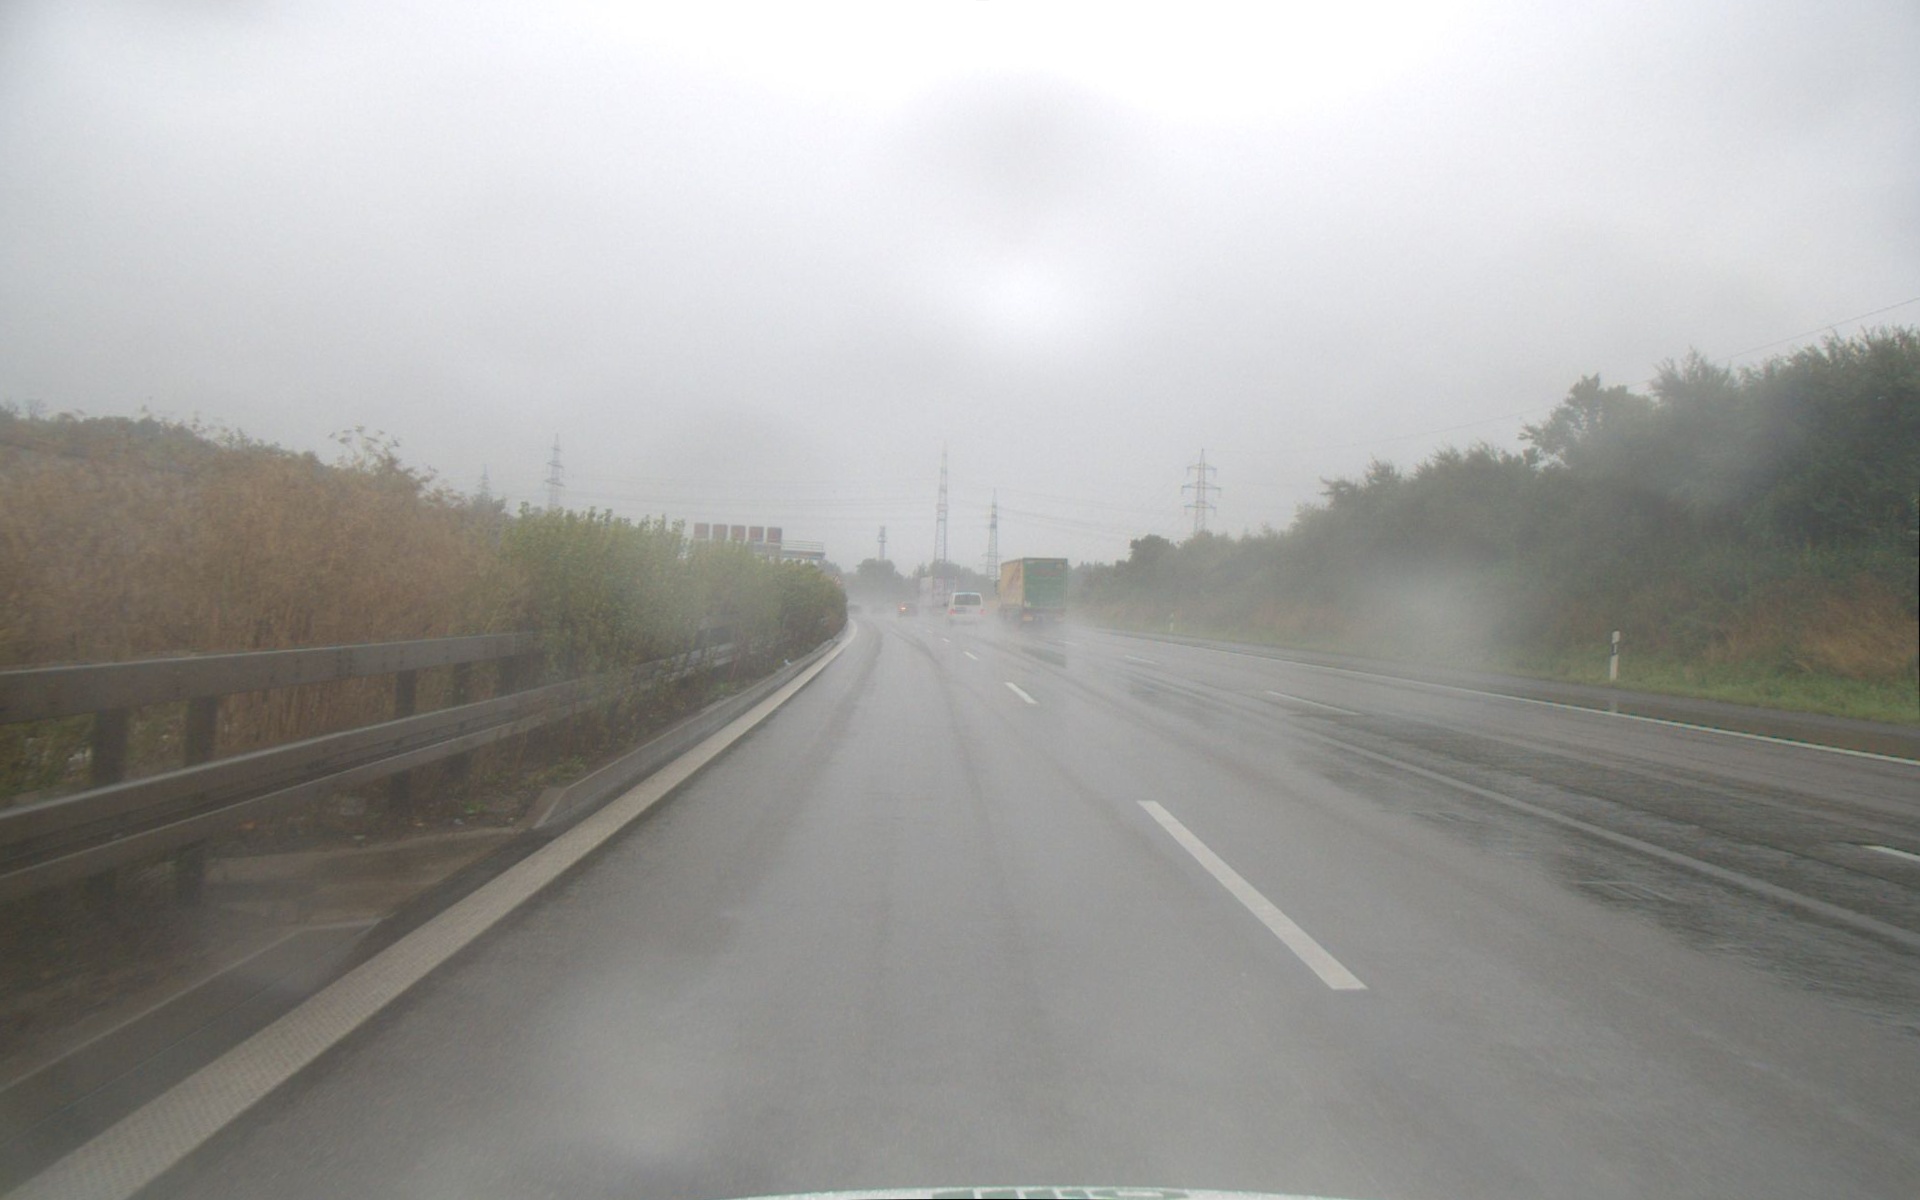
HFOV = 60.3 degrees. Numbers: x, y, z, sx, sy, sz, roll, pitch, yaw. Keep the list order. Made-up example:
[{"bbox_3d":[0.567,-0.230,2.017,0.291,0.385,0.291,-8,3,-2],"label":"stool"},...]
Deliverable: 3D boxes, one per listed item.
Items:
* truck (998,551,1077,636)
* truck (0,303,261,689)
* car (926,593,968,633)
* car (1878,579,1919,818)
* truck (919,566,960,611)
[{"bbox_3d":[4.523,-0.318,100.085,4.103,4.711,16.105,1,0,0],"label":"truck"},{"bbox_3d":[-17.545,-1.704,28.631,4.029,6.232,16.002,1,0,0],"label":"truck"},{"bbox_3d":[-0.735,0.685,88.423,1.954,2.049,3.997,1,0,-4],"label":"car"},{"bbox_3d":[7.612,0.671,9.406,1.953,1.647,4.991,1,0,-1],"label":"car"},{"bbox_3d":[-2.170,-1.170,169.445,3.172,4.387,8.821,1,0,-8],"label":"truck"}]
